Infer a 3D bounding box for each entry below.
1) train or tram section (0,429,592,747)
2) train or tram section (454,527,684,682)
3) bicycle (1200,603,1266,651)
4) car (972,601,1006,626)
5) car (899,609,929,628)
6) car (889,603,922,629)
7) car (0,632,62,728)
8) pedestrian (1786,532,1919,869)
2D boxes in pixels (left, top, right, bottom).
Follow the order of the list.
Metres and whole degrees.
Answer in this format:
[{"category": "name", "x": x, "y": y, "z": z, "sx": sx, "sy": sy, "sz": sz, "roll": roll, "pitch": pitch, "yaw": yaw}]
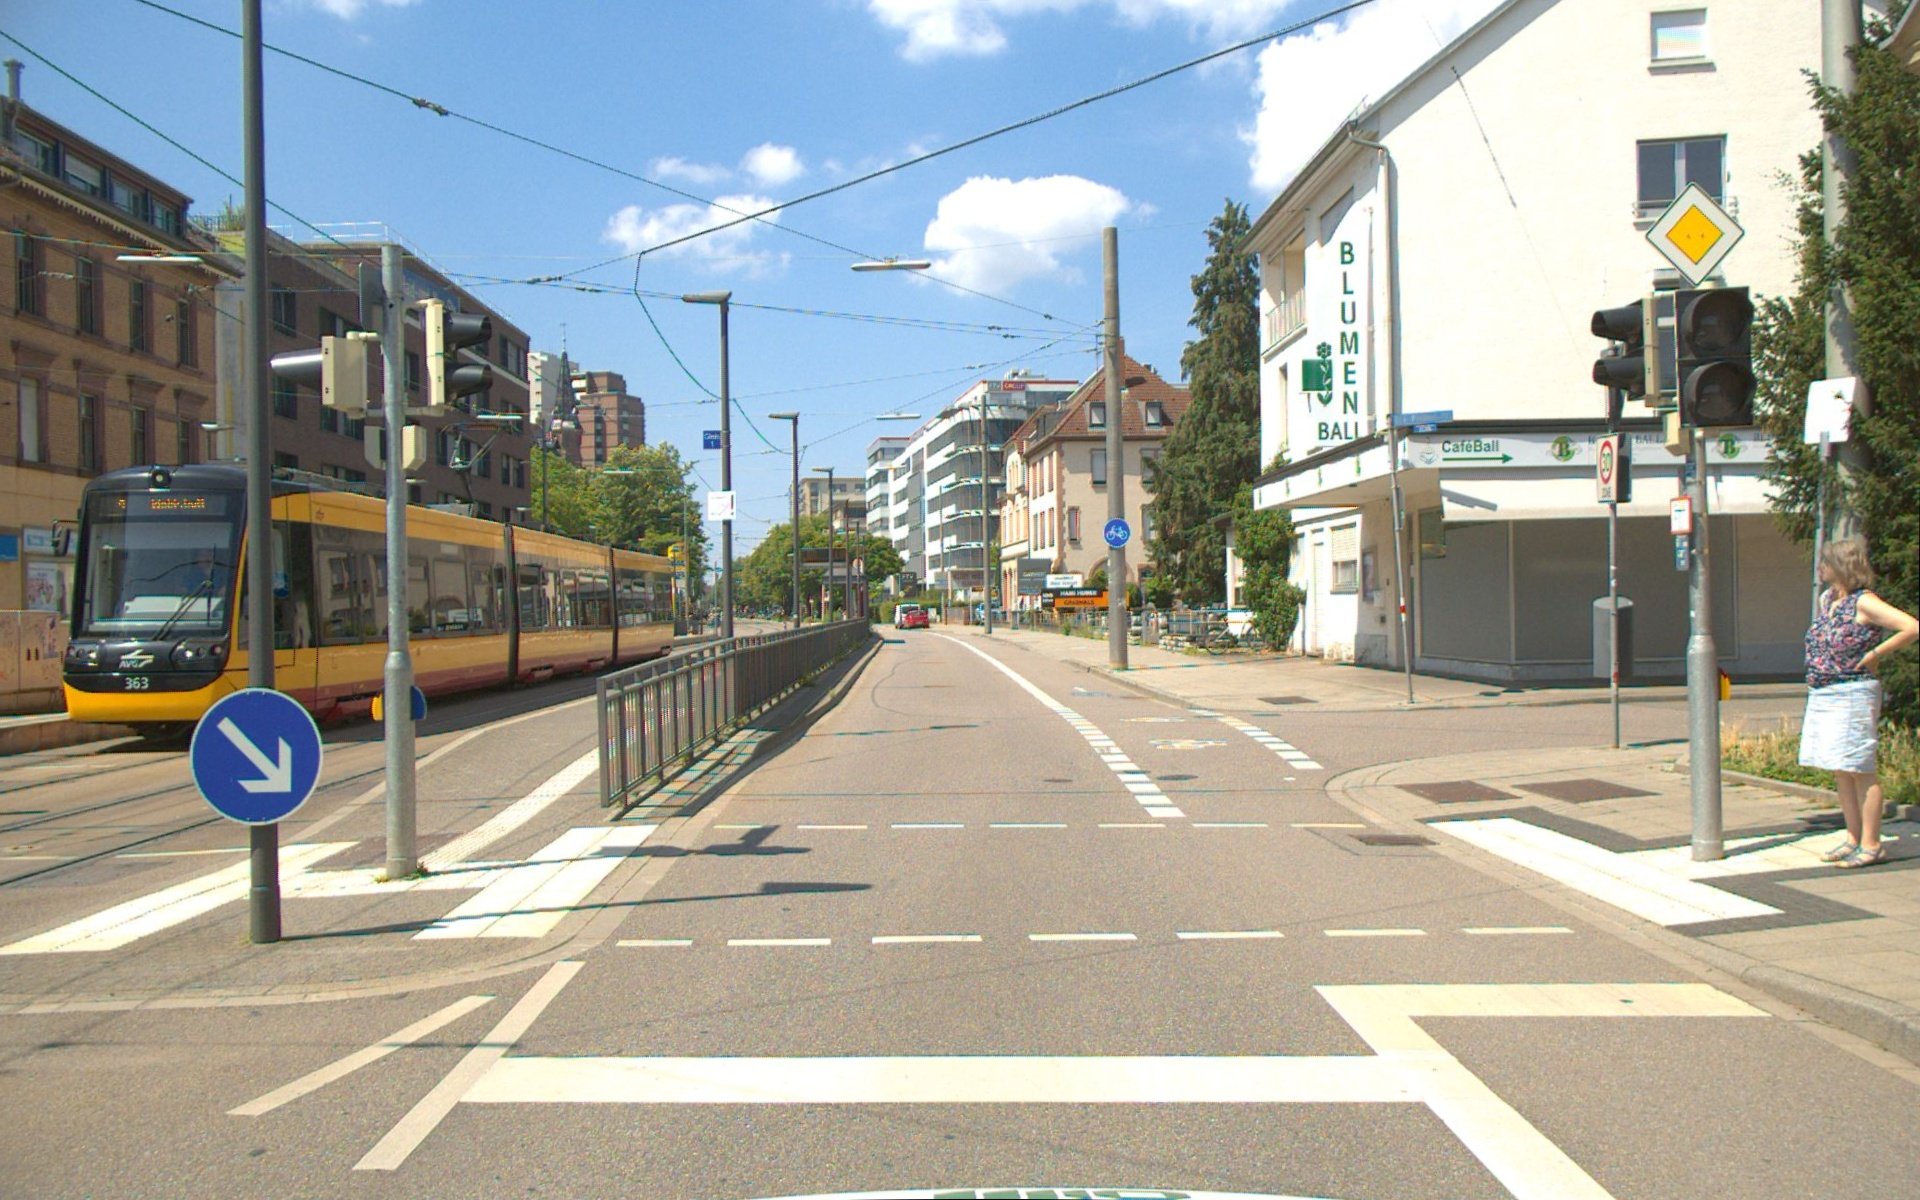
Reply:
[{"category": "train or tram section", "x": -10.206, "y": -0.016, "z": 29.498, "sx": 3.185, "sy": 3.630, "sz": 20.492, "roll": -1, "pitch": -1, "yaw": -2}, {"category": "train or tram section", "x": -10.728, "y": 0.196, "z": 47.814, "sx": 3.170, "sy": 3.630, "sz": 16.342, "roll": -1, "pitch": -1, "yaw": -2}, {"category": "bicycle", "x": 6.717, "y": 0.656, "z": 40.740, "sx": 1.500, "sy": 1.105, "sz": 0.430, "roll": -3, "pitch": -1, "yaw": 4}, {"category": "car", "x": 2.125, "y": 0.983, "z": 121.427, "sx": 1.842, "sy": 1.652, "sz": 4.632, "roll": -4, "pitch": 0, "yaw": -6}, {"category": "car", "x": -3.680, "y": 1.448, "z": 130.914, "sx": 1.956, "sy": 1.467, "sz": 4.010, "roll": -1, "pitch": 0, "yaw": -7}, {"category": "car", "x": -4.552, "y": 1.314, "z": 137.761, "sx": 1.957, "sy": 2.026, "sz": 5.502, "roll": -3, "pitch": 0, "yaw": -9}, {"category": "car", "x": -15.978, "y": 1.326, "z": 25.968, "sx": 1.617, "sy": 1.482, "sz": 3.789, "roll": -3, "pitch": 0, "yaw": 0}, {"category": "pedestrian", "x": 4.734, "y": 0.511, "z": 8.733, "sx": 0.551, "sy": 1.695, "sz": 0.681, "roll": -2, "pitch": 0, "yaw": 21}]
